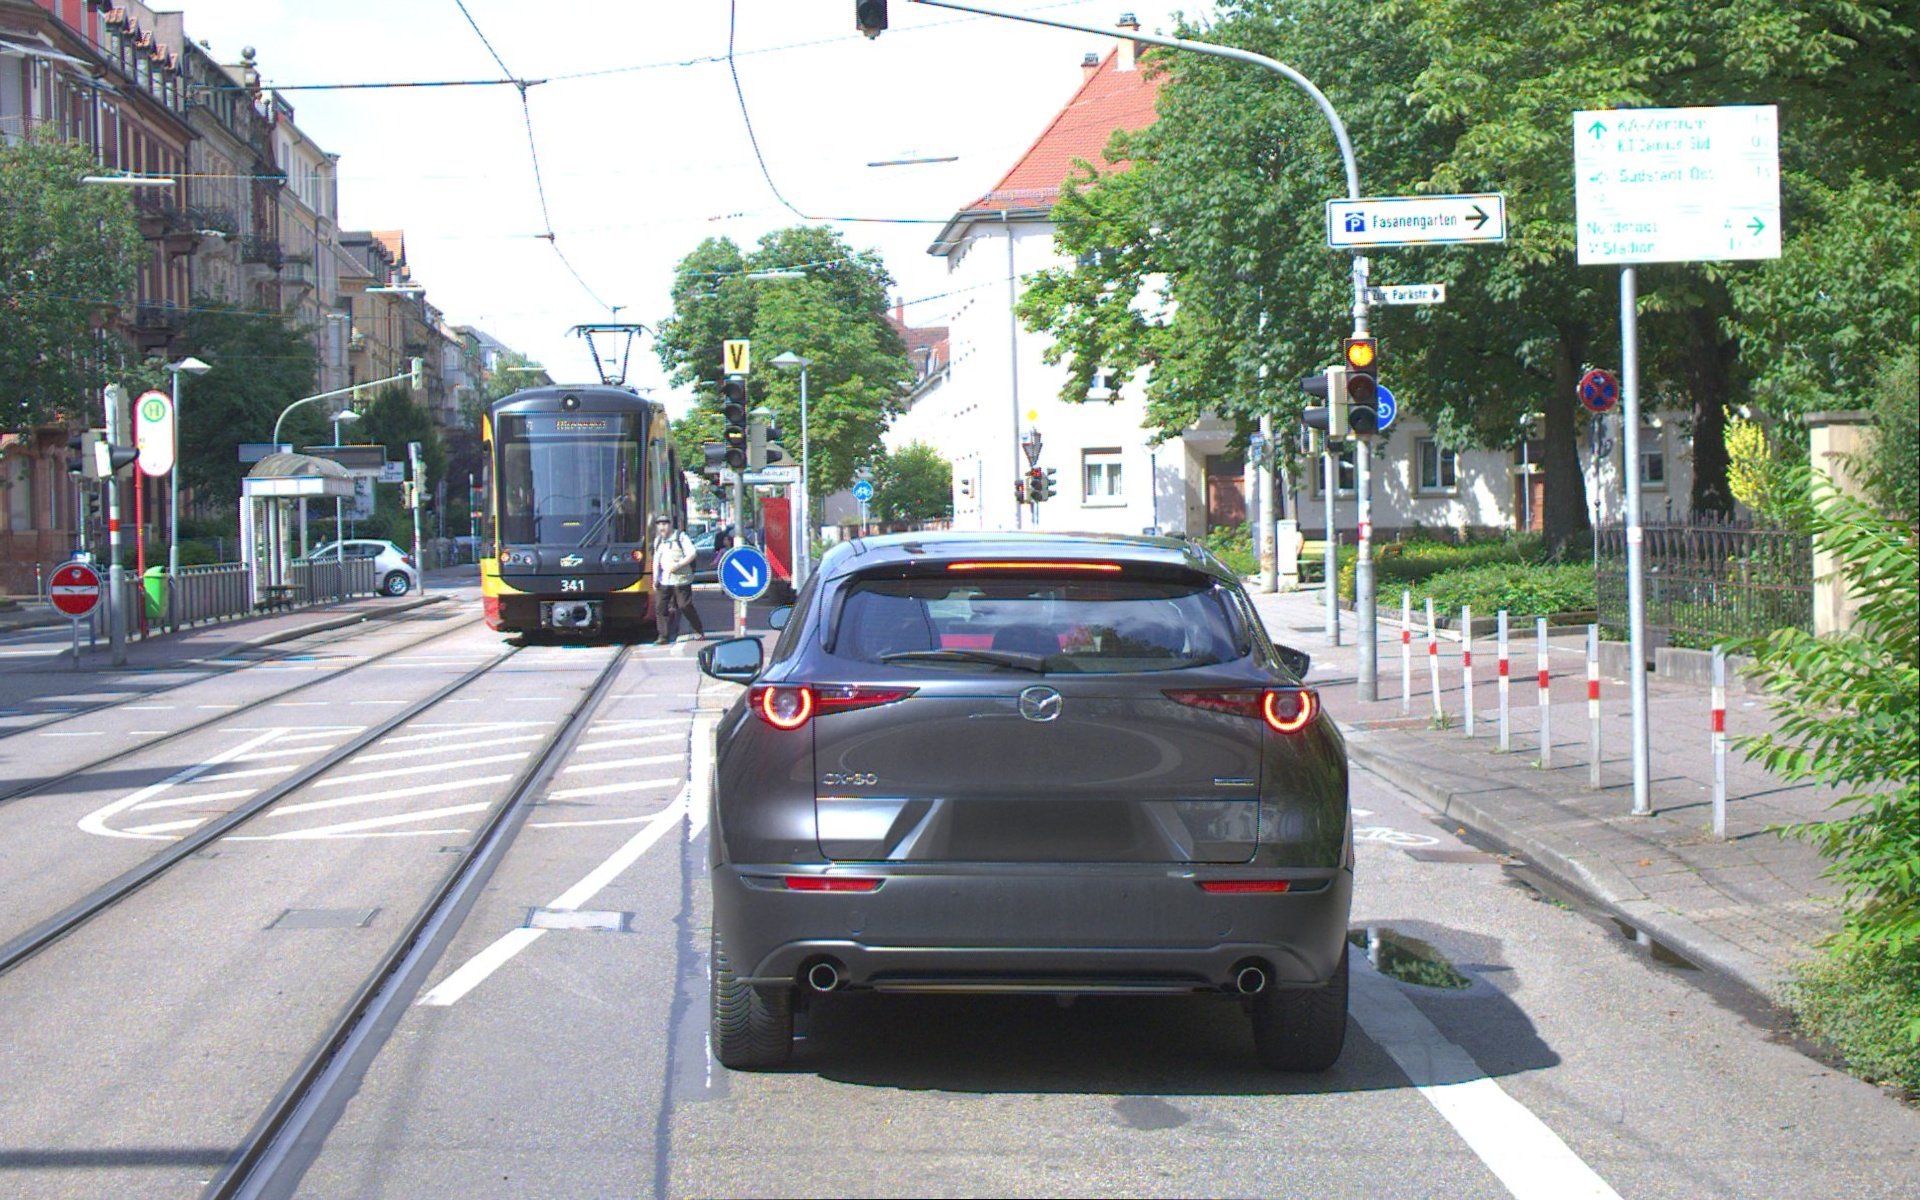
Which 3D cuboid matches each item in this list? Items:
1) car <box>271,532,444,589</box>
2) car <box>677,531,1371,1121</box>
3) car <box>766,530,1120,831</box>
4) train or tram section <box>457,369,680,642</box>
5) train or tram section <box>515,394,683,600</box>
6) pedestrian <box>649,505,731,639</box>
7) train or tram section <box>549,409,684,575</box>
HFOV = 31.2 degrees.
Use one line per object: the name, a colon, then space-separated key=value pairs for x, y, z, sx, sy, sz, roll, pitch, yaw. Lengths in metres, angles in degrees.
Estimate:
car: x=-15.184 y=-0.997 z=86.649 sx=3.986 sy=1.356 sz=1.679 roll=-1 pitch=1 yaw=-25
car: x=0.136 y=0.548 z=10.932 sx=1.778 sy=1.494 sz=4.000 roll=1 pitch=1 yaw=-1
car: x=-0.117 y=0.373 z=19.538 sx=1.778 sy=1.494 sz=4.000 roll=1 pitch=1 yaw=-1
train or tram section: x=-5.644 y=-1.497 z=51.688 sx=2.752 sy=3.478 sz=14.411 roll=-1 pitch=2 yaw=-4
train or tram section: x=-6.757 y=-2.031 z=66.040 sx=2.752 sy=3.478 sz=14.411 roll=-1 pitch=2 yaw=-4
pedestrian: x=-3.506 y=-0.369 z=44.577 sx=0.717 sy=1.699 sz=0.824 roll=-2 pitch=1 yaw=-34
train or tram section: x=-7.889 y=-2.568 z=80.379 sx=2.752 sy=3.478 sz=14.411 roll=-1 pitch=2 yaw=-4
